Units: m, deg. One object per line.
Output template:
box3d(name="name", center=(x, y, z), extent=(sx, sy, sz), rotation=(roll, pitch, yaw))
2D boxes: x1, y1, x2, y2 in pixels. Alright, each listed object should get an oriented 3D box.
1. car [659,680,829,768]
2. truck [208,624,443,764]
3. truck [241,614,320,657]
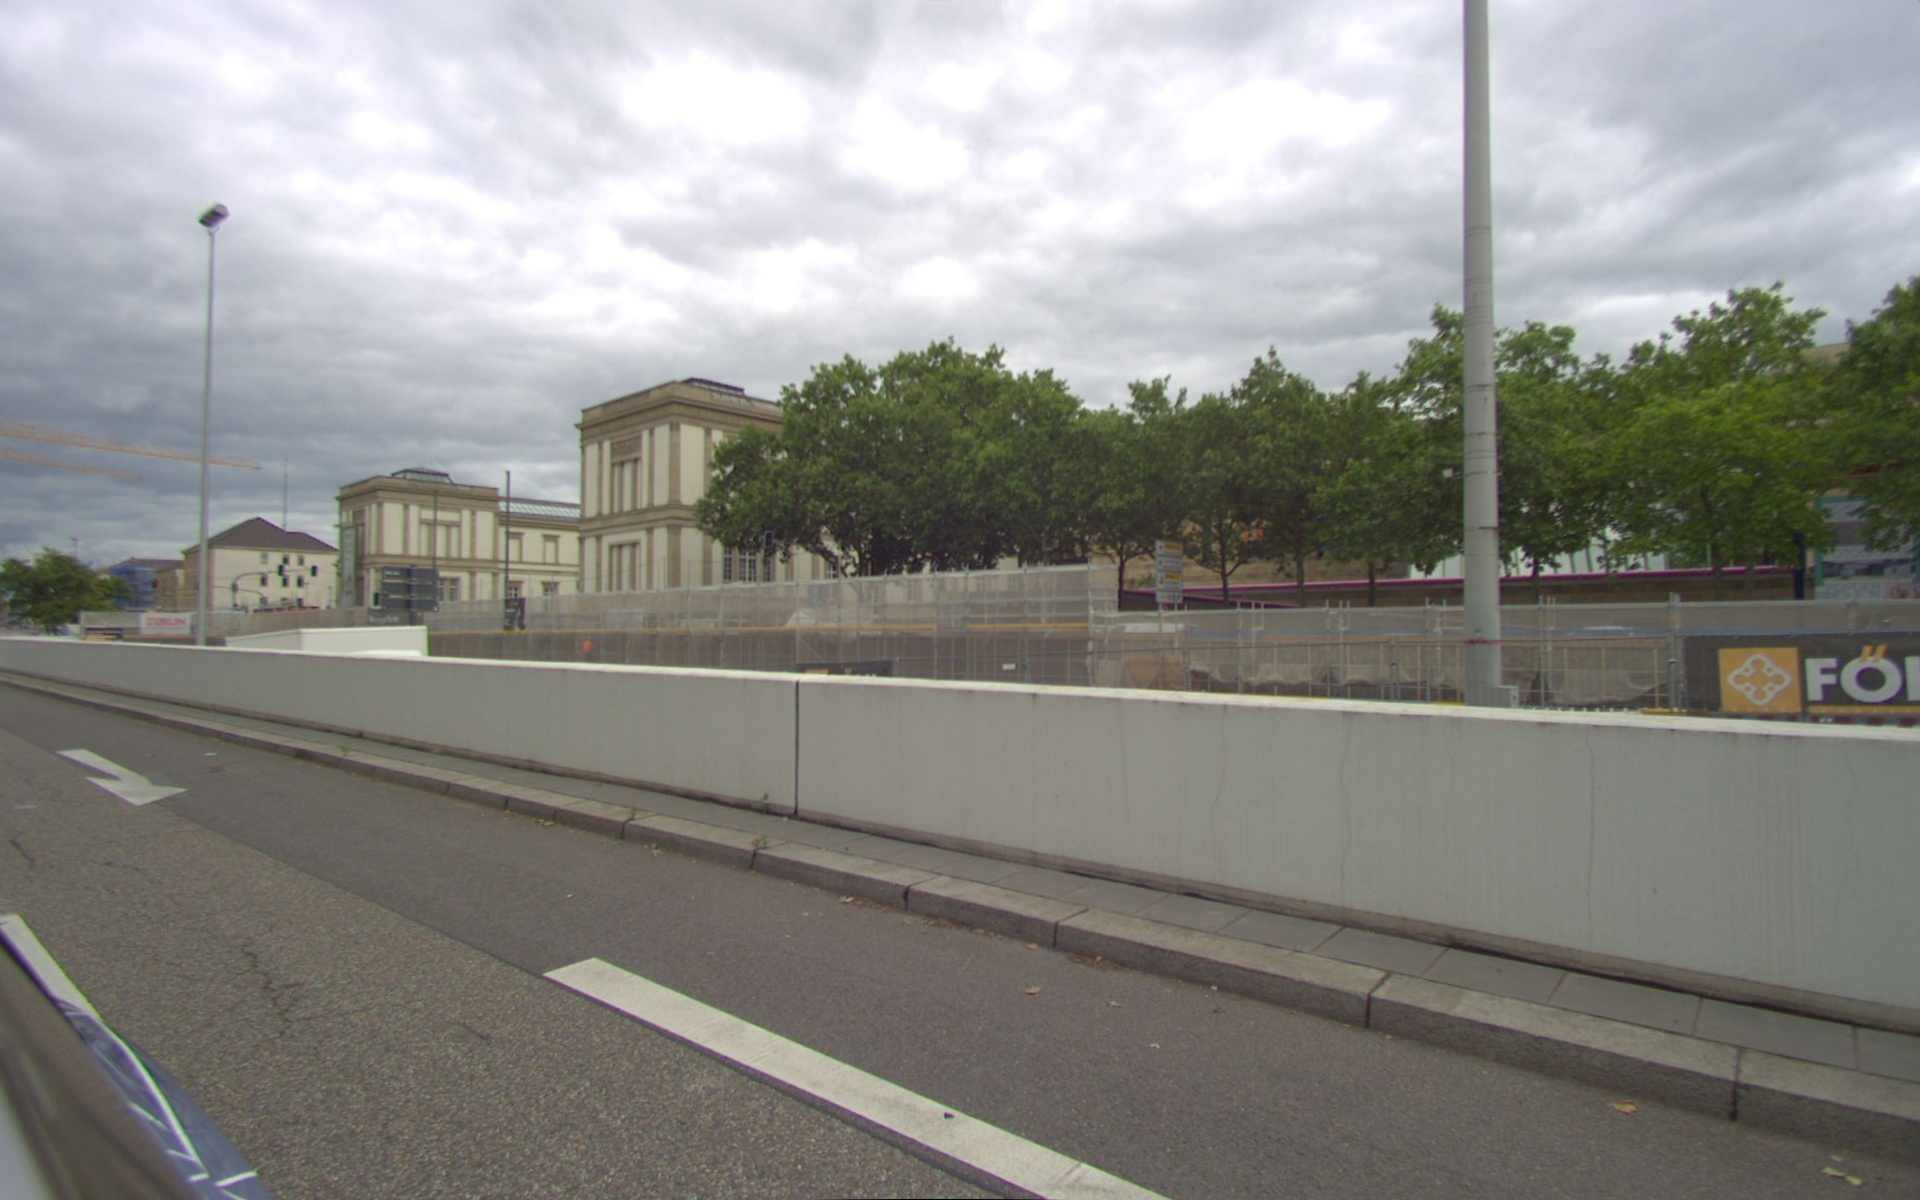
box3d(name="car", center=(-4.495, 2.494, 20.927), extent=(3.376, 1.580, 1.732), rotation=(-2, -6, 42))
box3d(name="truck", center=(-14.568, 2.069, 23.042), extent=(6.668, 2.733, 2.576), rotation=(-4, -5, 40))
box3d(name="truck", center=(-71.130, 3.826, 105.670), extent=(16.610, 4.114, 2.886), rotation=(-3, -5, 42))
